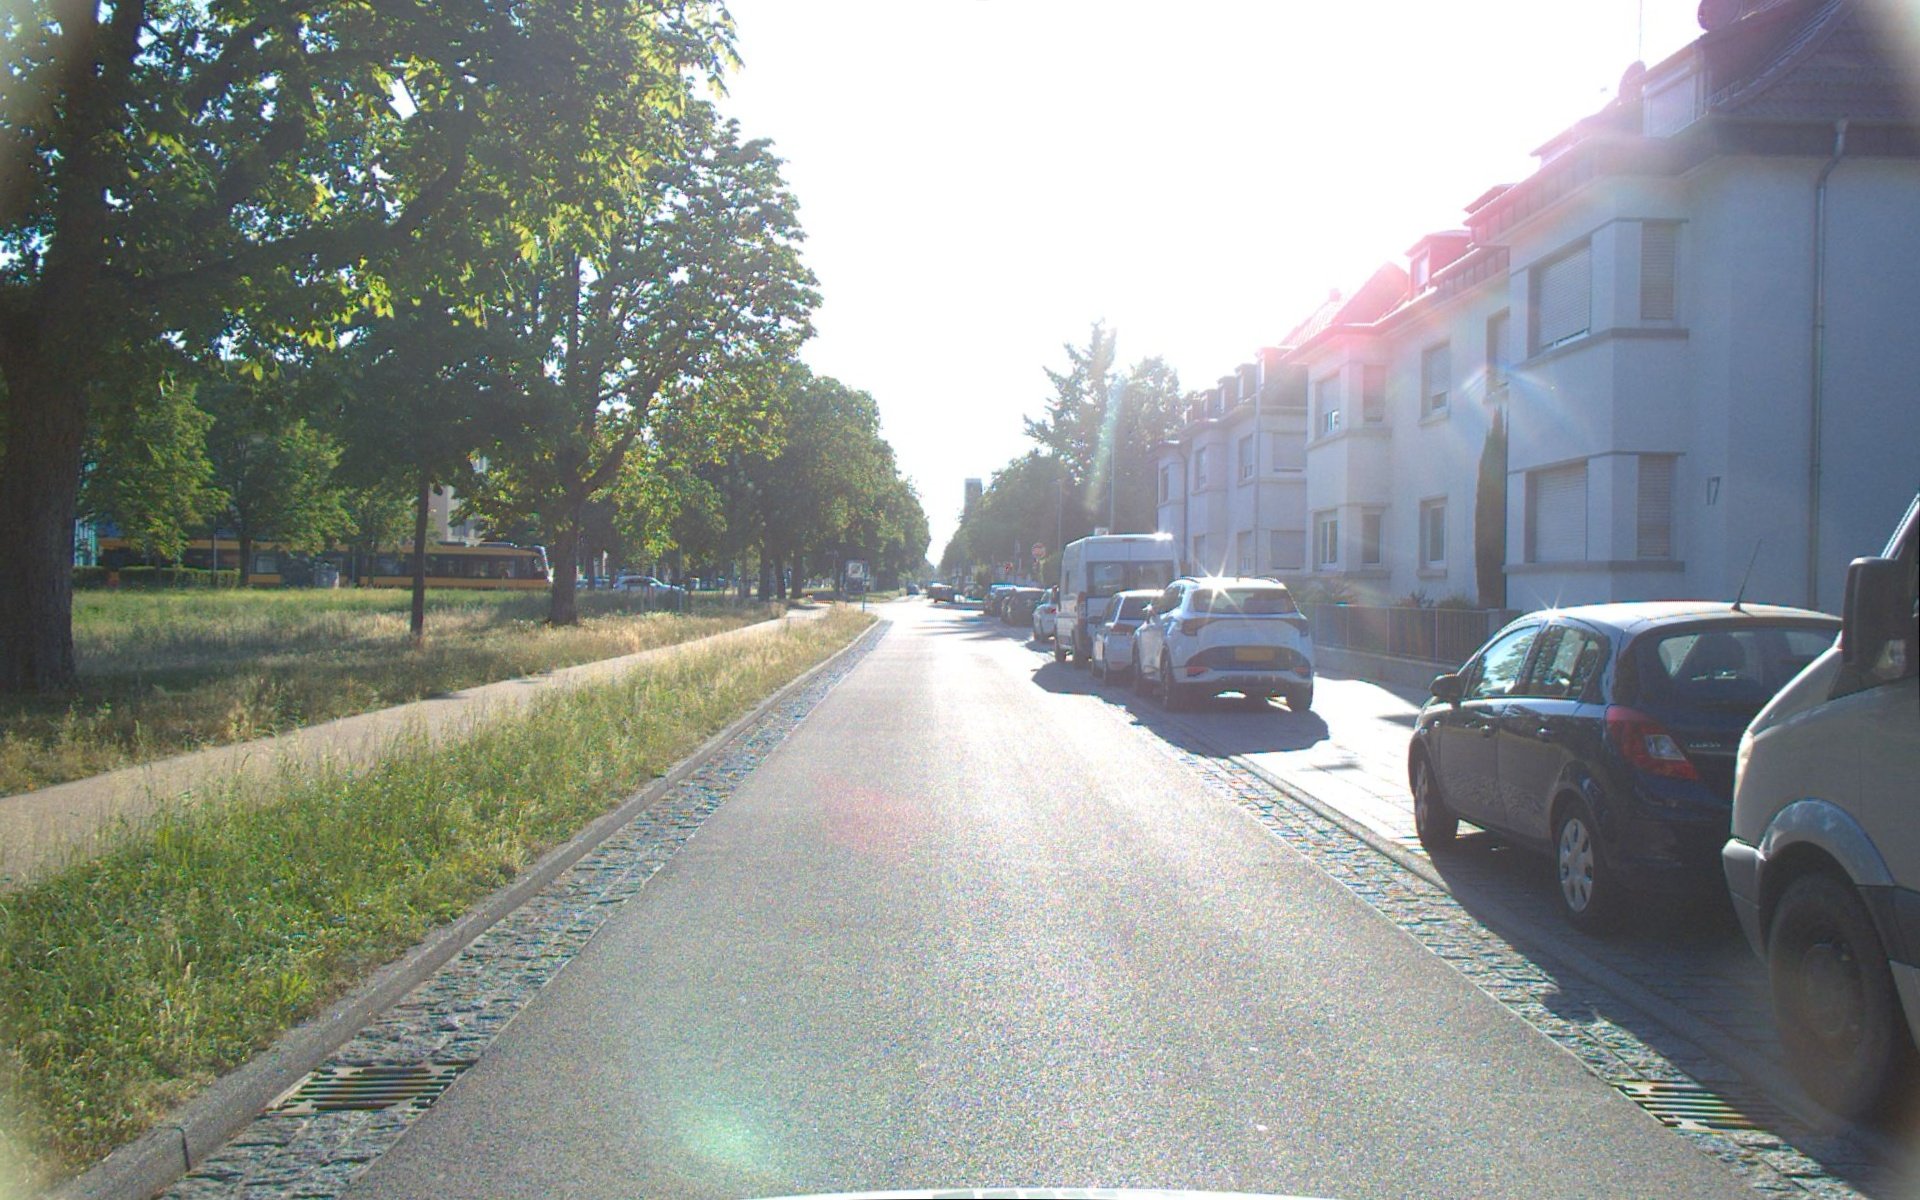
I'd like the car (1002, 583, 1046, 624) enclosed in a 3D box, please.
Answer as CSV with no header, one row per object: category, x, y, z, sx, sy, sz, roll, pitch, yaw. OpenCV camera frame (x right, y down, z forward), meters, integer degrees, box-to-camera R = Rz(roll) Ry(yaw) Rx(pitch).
car,2.503,0.100,65.161,1.616,1.557,3.851,0,1,0

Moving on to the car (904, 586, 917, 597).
car,-6.916,-1.180,231.825,1.773,1.557,3.851,0,1,0

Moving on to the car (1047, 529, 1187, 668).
car,3.058,-0.066,33.282,2.084,2.577,5.186,0,1,-3

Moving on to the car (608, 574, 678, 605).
car,-20.226,-0.685,105.834,4.266,1.795,1.996,2,0,-10

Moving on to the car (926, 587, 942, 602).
car,-2.682,-0.613,173.009,1.616,1.557,3.851,0,1,0

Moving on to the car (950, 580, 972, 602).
car,0.081,-0.674,120.808,1.616,1.557,3.851,0,1,0

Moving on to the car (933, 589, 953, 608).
car,-1.405,-0.133,139.049,1.616,1.557,3.851,0,1,0

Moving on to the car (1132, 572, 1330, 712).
car,3.465,0.477,21.880,1.800,1.664,4.129,0,1,-2

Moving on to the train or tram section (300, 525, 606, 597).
train or tram section,-34.252,-2.595,112.815,19.421,4.025,3.635,2,0,-10

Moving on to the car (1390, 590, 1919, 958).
car,3.637,0.708,8.765,1.588,1.435,3.968,-3,0,-1

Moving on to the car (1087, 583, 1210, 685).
car,3.051,0.501,27.366,1.616,1.557,3.851,0,1,0

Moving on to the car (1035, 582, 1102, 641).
car,2.954,0.293,45.714,1.616,1.557,3.851,0,1,0

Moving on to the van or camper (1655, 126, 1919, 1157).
van or camper,3.602,0.121,3.168,1.904,2.826,5.938,2,0,-1

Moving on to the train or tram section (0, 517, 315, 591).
train or tram section,-53.042,-2.978,109.470,18.728,4.025,3.635,2,0,-11

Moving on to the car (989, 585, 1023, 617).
car,2.256,0.027,82.006,1.616,1.557,3.851,0,1,0
